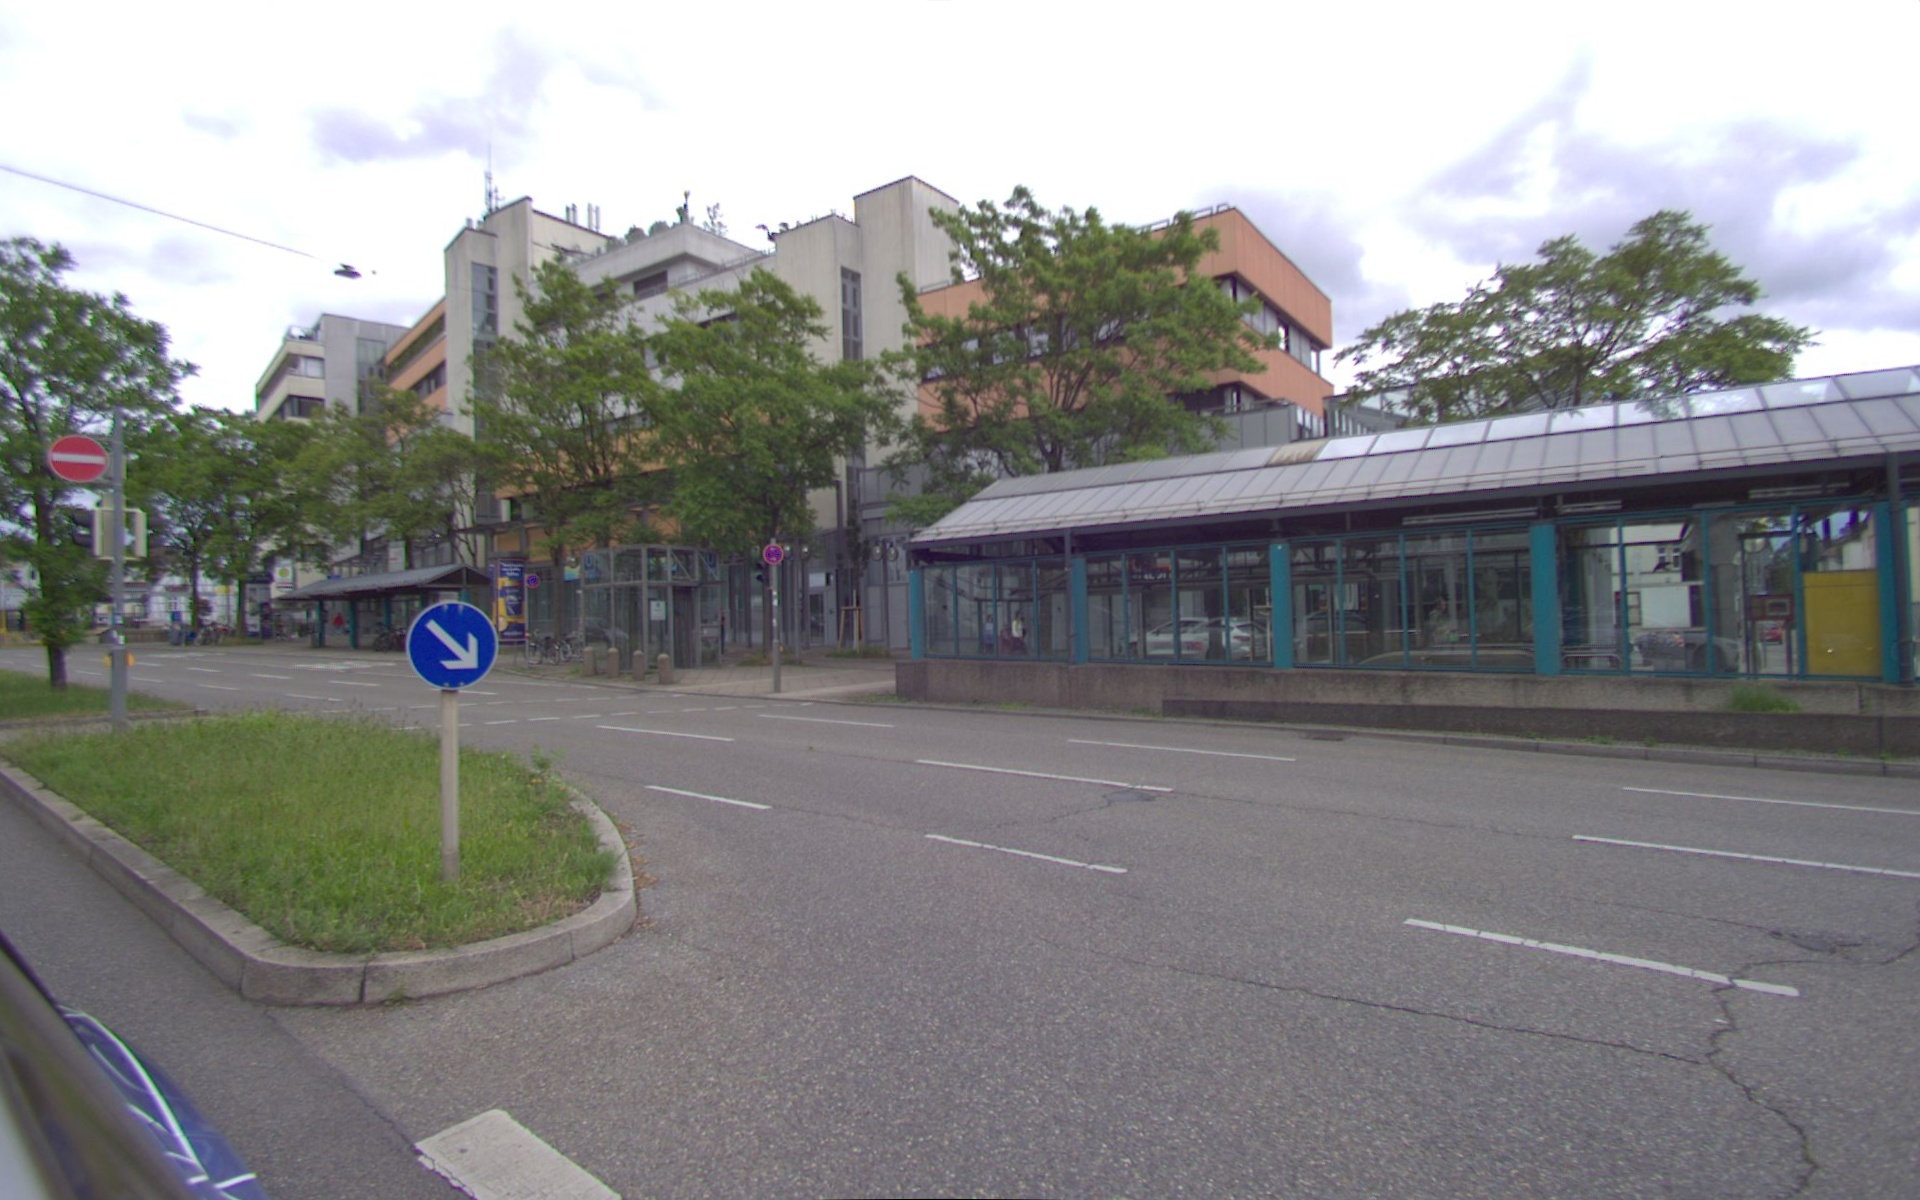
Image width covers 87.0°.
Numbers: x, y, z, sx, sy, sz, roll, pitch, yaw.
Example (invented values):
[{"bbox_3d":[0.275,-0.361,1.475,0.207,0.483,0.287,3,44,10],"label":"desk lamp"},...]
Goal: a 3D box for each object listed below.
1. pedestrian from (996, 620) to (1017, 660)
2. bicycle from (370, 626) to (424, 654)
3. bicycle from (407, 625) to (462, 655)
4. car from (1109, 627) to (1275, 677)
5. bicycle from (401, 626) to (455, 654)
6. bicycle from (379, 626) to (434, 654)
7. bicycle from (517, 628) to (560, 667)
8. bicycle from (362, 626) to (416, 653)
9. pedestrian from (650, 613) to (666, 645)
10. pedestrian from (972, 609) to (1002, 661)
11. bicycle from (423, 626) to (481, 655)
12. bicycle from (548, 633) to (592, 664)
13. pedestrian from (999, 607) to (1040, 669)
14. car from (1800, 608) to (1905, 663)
[{"bbox_3d":[1.415,1.204,30.711,0.514,1.201,0.378,-1,-1,42],"label":"pedestrian"},{"bbox_3d":[-25.017,1.770,45.001,0.542,1.147,2.043,-1,1,39],"label":"bicycle"},{"bbox_3d":[-22.283,1.697,42.976,0.541,1.147,2.047,-1,1,34],"label":"bicycle"},{"bbox_3d":[7.088,1.540,31.187,4.714,1.411,1.673,-1,-1,38],"label":"car"},{"bbox_3d":[-23.026,1.720,43.858,0.541,1.098,2.047,-1,1,34],"label":"bicycle"},{"bbox_3d":[-24.309,1.751,44.448,0.542,1.098,2.043,-1,1,39],"label":"bicycle"},{"bbox_3d":[-14.138,1.575,33.948,1.948,1.234,0.514,-2,0,41],"label":"bicycle"},{"bbox_3d":[-25.707,1.761,45.603,0.542,1.098,2.043,-1,1,39],"label":"bicycle"},{"bbox_3d":[-13.843,1.318,46.371,0.580,1.443,0.456,-1,-1,41],"label":"pedestrian"},{"bbox_3d":[0.836,1.072,31.173,0.638,1.558,0.679,-1,-1,39],"label":"pedestrian"},{"bbox_3d":[-21.377,1.704,42.599,0.541,1.098,2.182,-1,1,34],"label":"bicycle"},{"bbox_3d":[-13.527,1.657,35.039,2.049,1.034,0.514,-2,0,41],"label":"bicycle"},{"bbox_3d":[1.657,1.041,28.042,0.827,1.692,0.769,-1,-1,41],"label":"pedestrian"},{"bbox_3d":[27.985,1.073,31.857,1.995,1.608,3.953,-1,-1,35],"label":"car"}]
